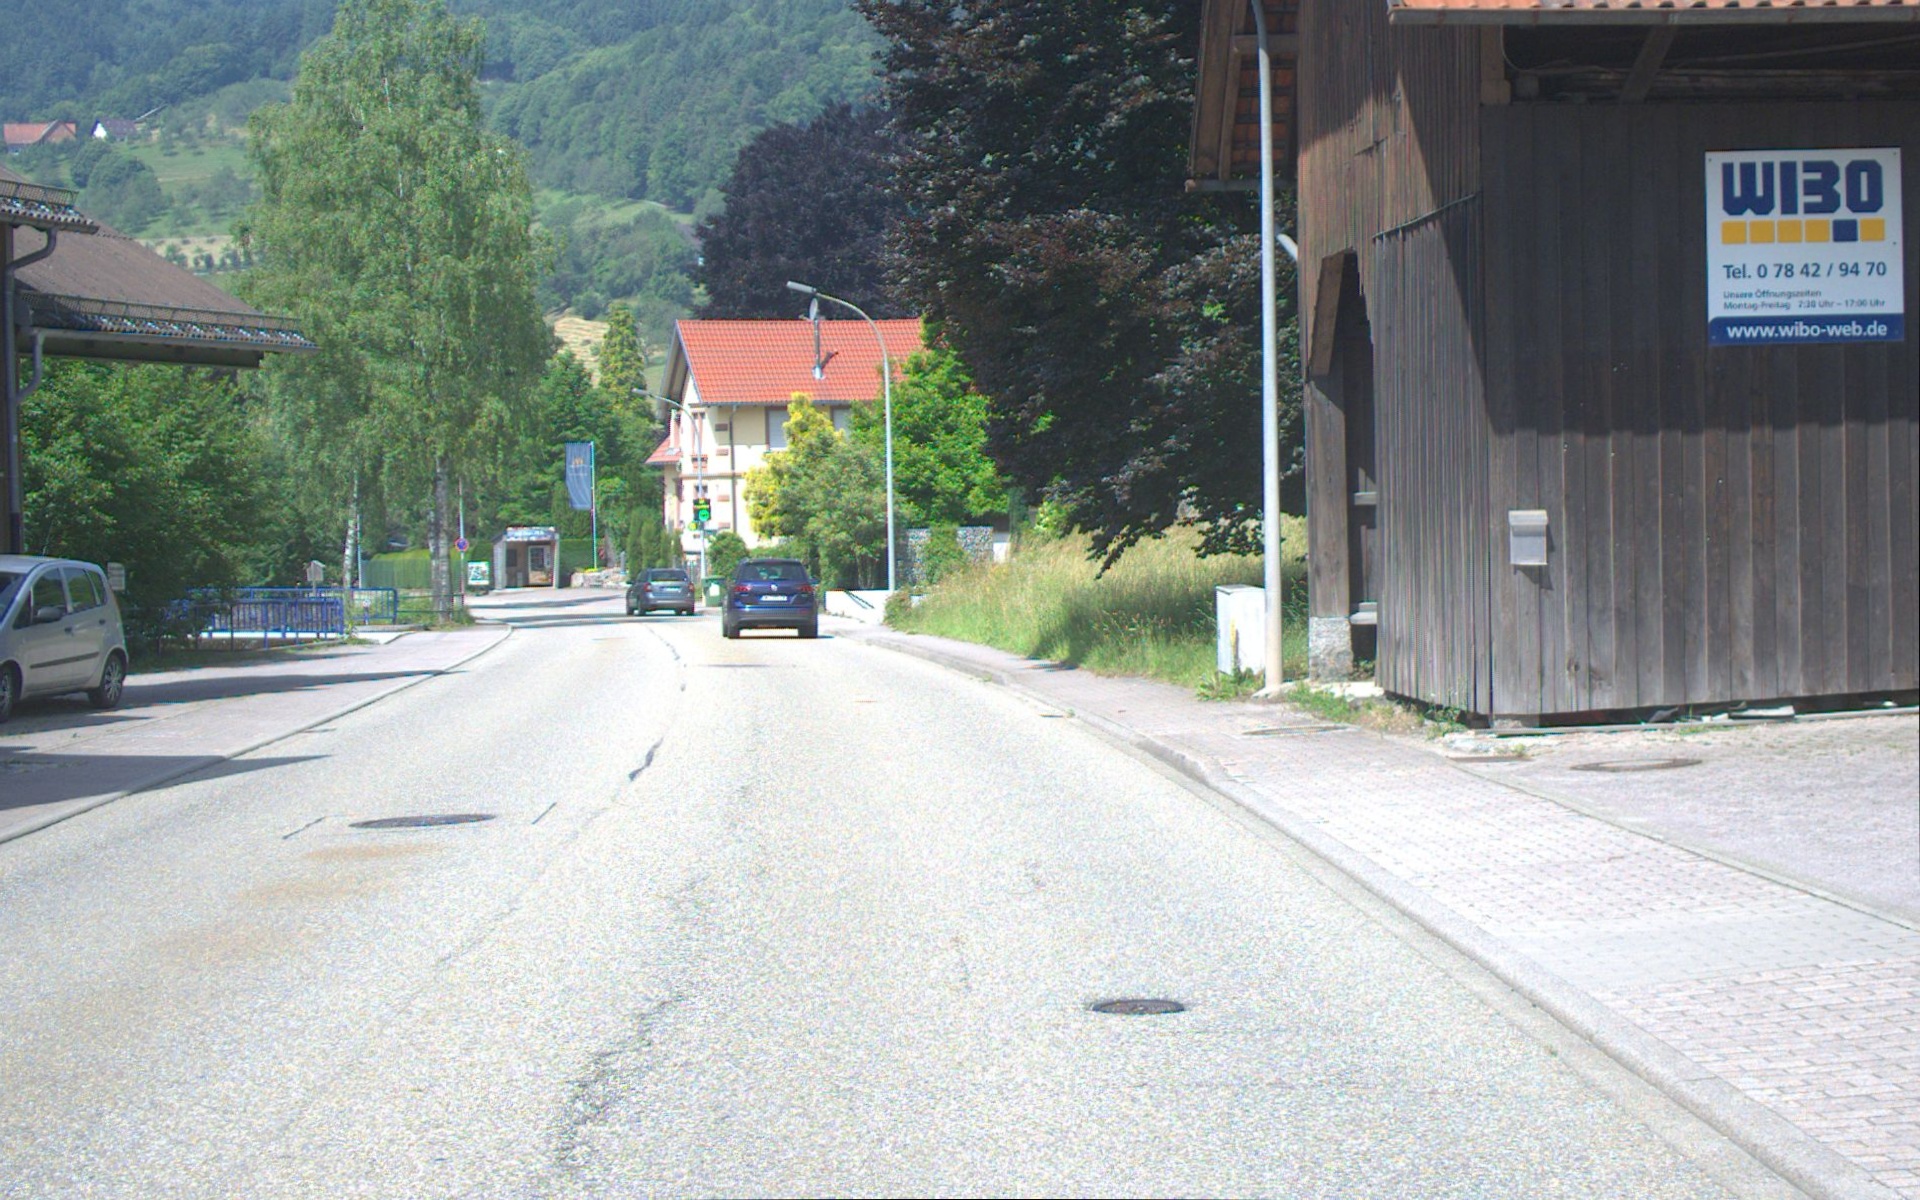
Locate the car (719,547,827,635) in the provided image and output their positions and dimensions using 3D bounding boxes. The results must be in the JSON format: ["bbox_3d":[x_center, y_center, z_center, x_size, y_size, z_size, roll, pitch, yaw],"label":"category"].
[{"bbox_3d":[-3.835,-0.197,69.946,1.919,1.692,3.789,-2,1,-7],"label":"car"}]

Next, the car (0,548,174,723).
[{"bbox_3d":[-9.436,0.304,34.370,1.581,1.564,4.021,2,2,10],"label":"car"}]

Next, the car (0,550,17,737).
[{"bbox_3d":[-8.799,0.429,24.911,1.730,1.449,4.802,0,2,12],"label":"car"}]

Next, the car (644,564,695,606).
[{"bbox_3d":[-9.023,-0.475,106.641,1.476,1.205,2.384,-2,1,-6],"label":"car"}]
